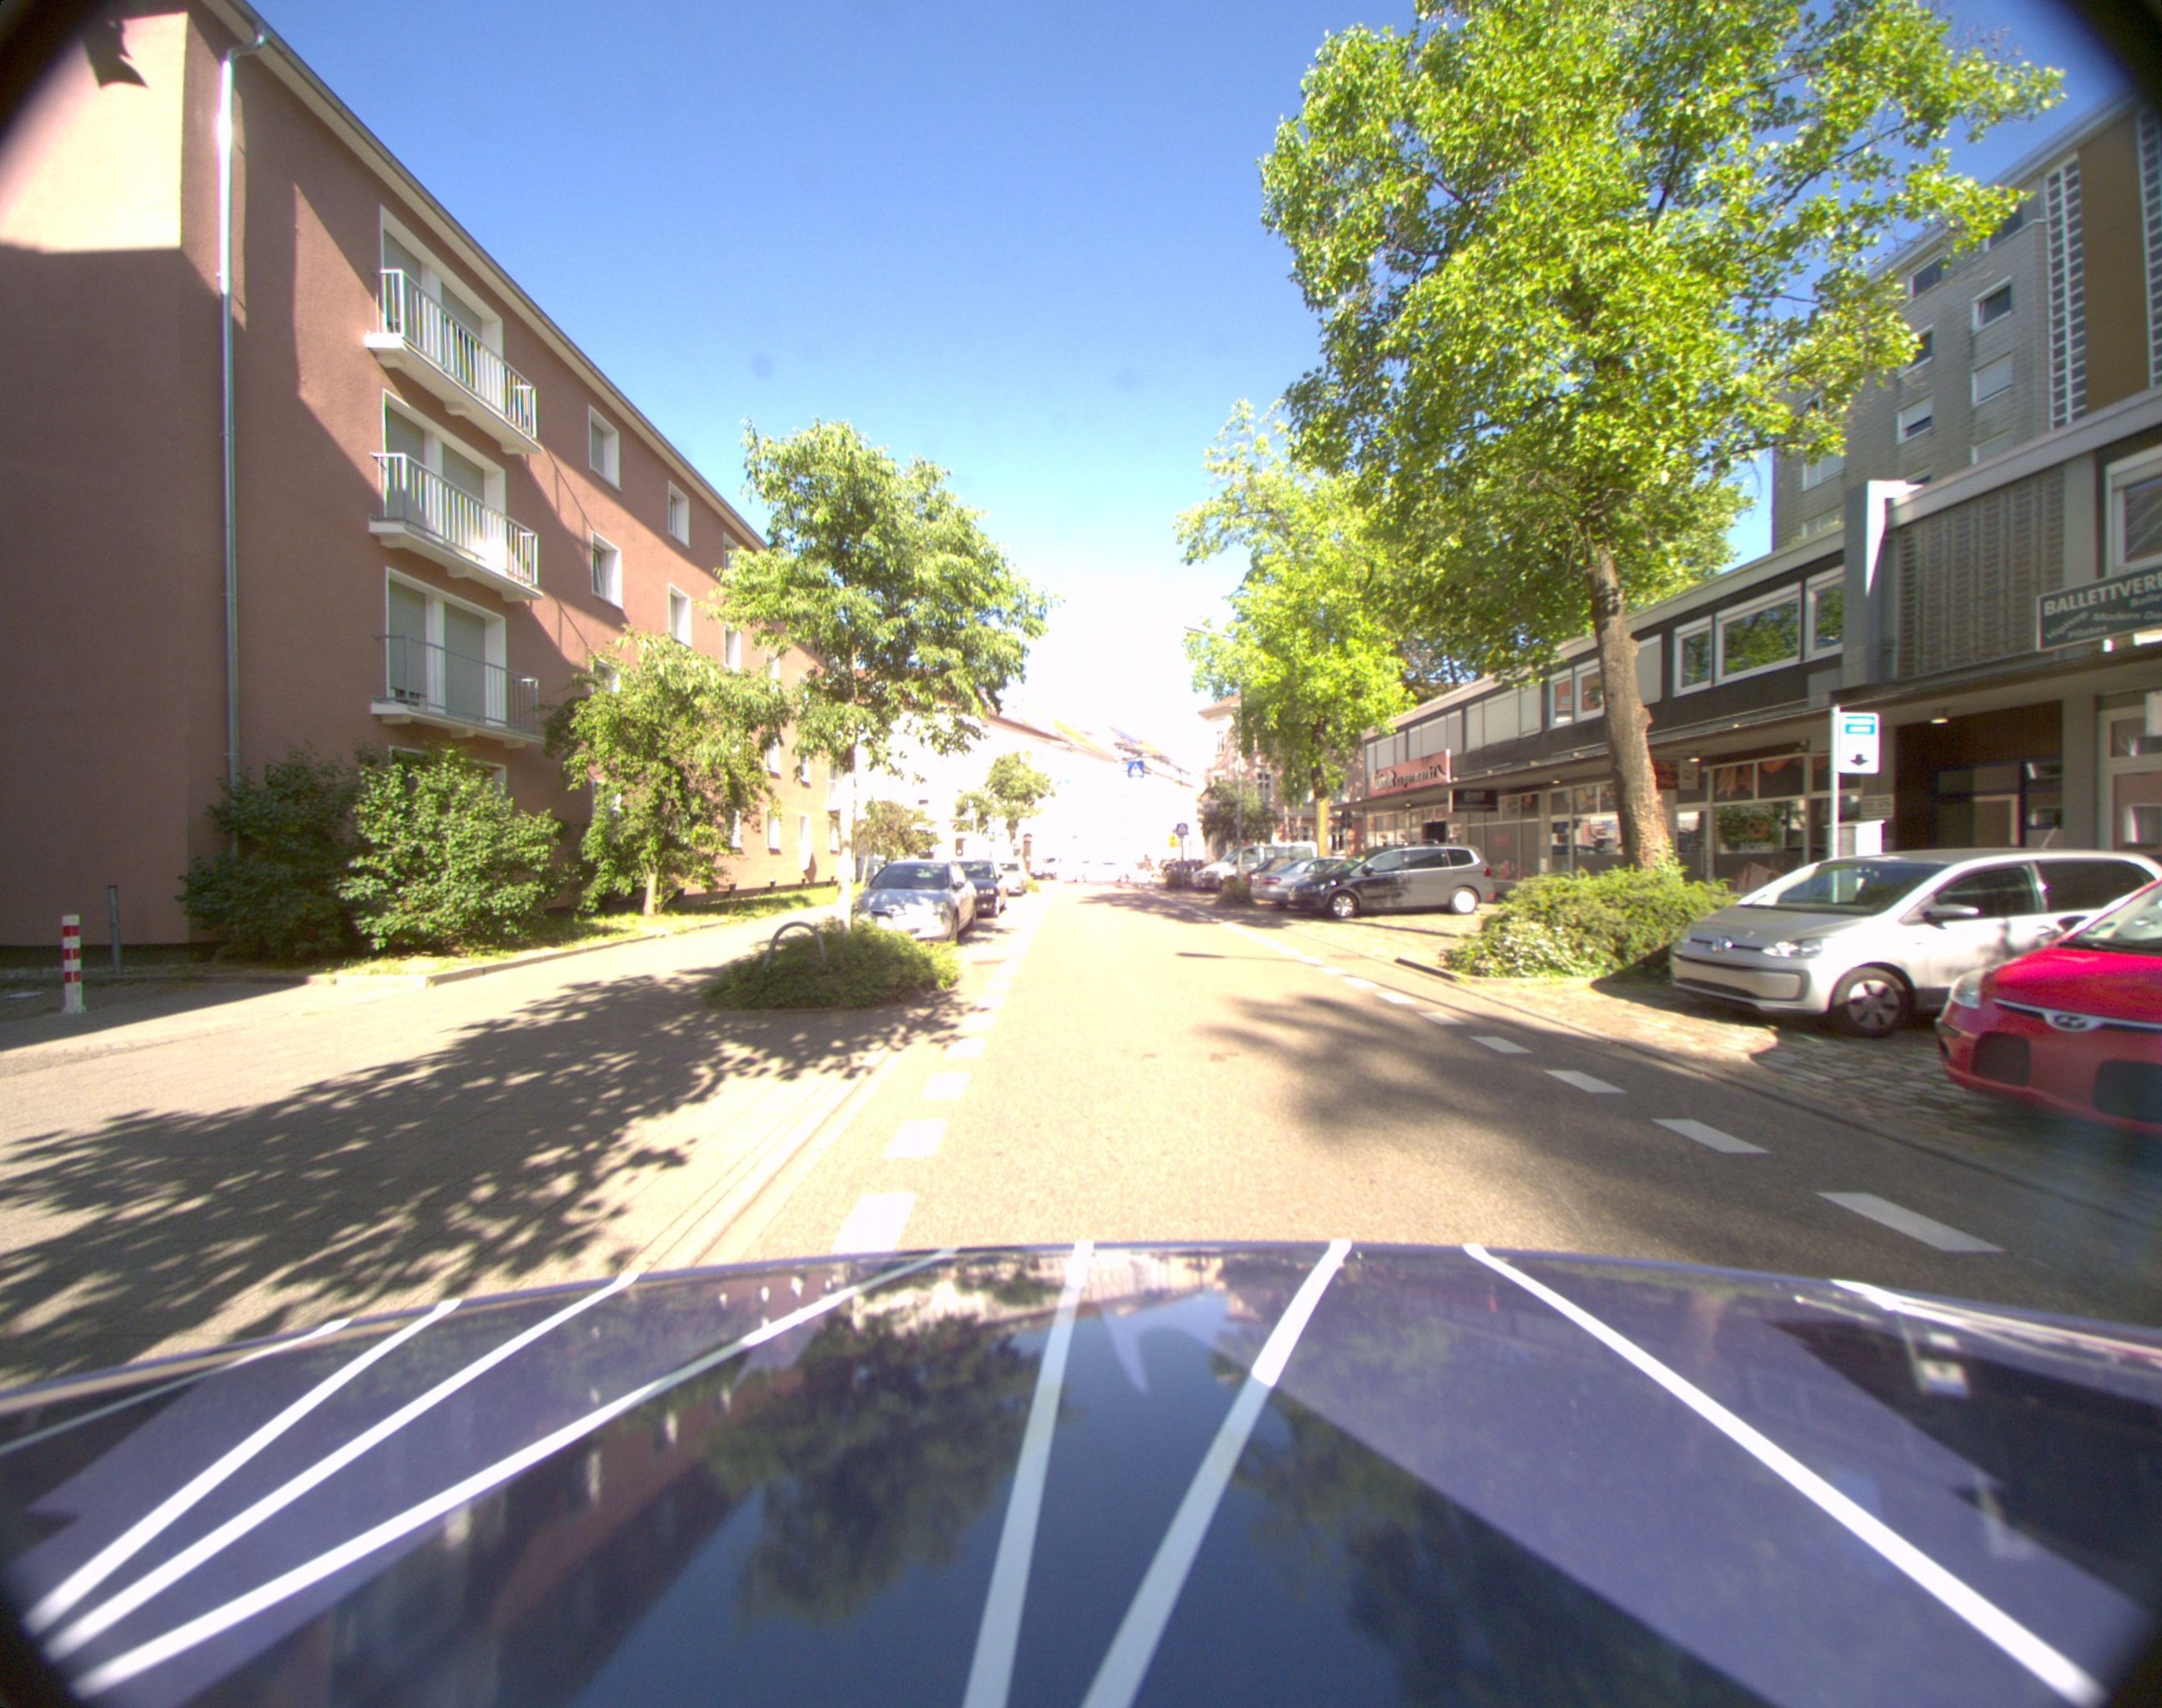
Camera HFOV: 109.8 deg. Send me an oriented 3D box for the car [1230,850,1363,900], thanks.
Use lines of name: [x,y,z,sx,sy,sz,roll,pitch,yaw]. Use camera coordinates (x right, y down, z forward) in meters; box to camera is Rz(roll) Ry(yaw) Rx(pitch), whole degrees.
car: [7.329,0.705,26.062,3.998,1.413,1.736,-4,0,-3]

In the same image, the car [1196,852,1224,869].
car: [12.985,0.602,76.086,1.855,1.652,4.007,0,0,23]

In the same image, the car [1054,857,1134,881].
car: [0.801,0.925,48.165,4.806,1.417,1.998,-1,0,-11]

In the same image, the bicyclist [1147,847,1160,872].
bicyclist: [4.938,0.378,51.797,0.817,1.663,0.848,0,1,12]

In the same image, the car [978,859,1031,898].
car: [-3.017,0.940,30.785,1.736,1.420,4.000,-1,0,0]

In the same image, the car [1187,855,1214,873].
car: [11.325,0.950,71.916,1.505,1.652,4.007,0,0,23]

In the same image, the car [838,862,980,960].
car: [-2.969,0.923,13.961,1.720,1.445,3.999,0,1,0]

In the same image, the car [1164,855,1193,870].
car: [10.169,0.865,79.278,1.995,1.455,4.006,0,0,23]

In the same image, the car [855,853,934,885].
car: [-12.165,0.945,49.931,4.757,2.002,1.999,-1,0,-5]

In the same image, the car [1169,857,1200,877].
car: [9.170,1.133,67.168,1.670,1.628,4.055,0,0,23]

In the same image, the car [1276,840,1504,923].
car: [7.408,0.641,18.529,4.781,1.767,1.874,-2,0,-1]

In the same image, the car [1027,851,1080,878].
car: [-1.980,0.728,56.114,1.908,1.924,4.817,0,0,25]

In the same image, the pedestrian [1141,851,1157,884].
pedestrian: [3.447,0.678,38.686,0.727,1.630,0.808,0,1,-1]

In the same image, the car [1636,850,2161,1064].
car: [7.354,0.798,6.752,3.595,1.552,1.672,-2,0,0]

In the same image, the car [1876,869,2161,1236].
car: [6.537,0.860,3.737,3.567,1.545,1.661,-2,0,-2]

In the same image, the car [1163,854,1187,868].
car: [10.407,0.736,83.650,1.609,1.444,3.301,0,0,26]

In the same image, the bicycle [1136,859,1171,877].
bicycle: [4.967,0.962,51.782,2.287,1.179,0.876,0,0,13]

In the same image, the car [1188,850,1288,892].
car: [6.882,0.729,33.522,3.998,1.781,1.757,-1,0,-2]

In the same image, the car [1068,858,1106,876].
car: [0.573,1.074,65.026,2.130,1.487,3.951,0,0,18]

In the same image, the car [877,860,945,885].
car: [-9.964,1.050,44.615,3.648,1.394,1.568,-1,0,-1]

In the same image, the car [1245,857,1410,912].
car: [6.767,0.813,21.107,3.998,1.390,1.759,-1,0,-3]

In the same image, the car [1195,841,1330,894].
car: [7.328,0.530,30.954,4.996,1.958,1.909,-2,0,-3]

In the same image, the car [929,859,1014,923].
car: [-2.796,0.900,20.264,1.662,1.473,4.311,-1,0,0]
